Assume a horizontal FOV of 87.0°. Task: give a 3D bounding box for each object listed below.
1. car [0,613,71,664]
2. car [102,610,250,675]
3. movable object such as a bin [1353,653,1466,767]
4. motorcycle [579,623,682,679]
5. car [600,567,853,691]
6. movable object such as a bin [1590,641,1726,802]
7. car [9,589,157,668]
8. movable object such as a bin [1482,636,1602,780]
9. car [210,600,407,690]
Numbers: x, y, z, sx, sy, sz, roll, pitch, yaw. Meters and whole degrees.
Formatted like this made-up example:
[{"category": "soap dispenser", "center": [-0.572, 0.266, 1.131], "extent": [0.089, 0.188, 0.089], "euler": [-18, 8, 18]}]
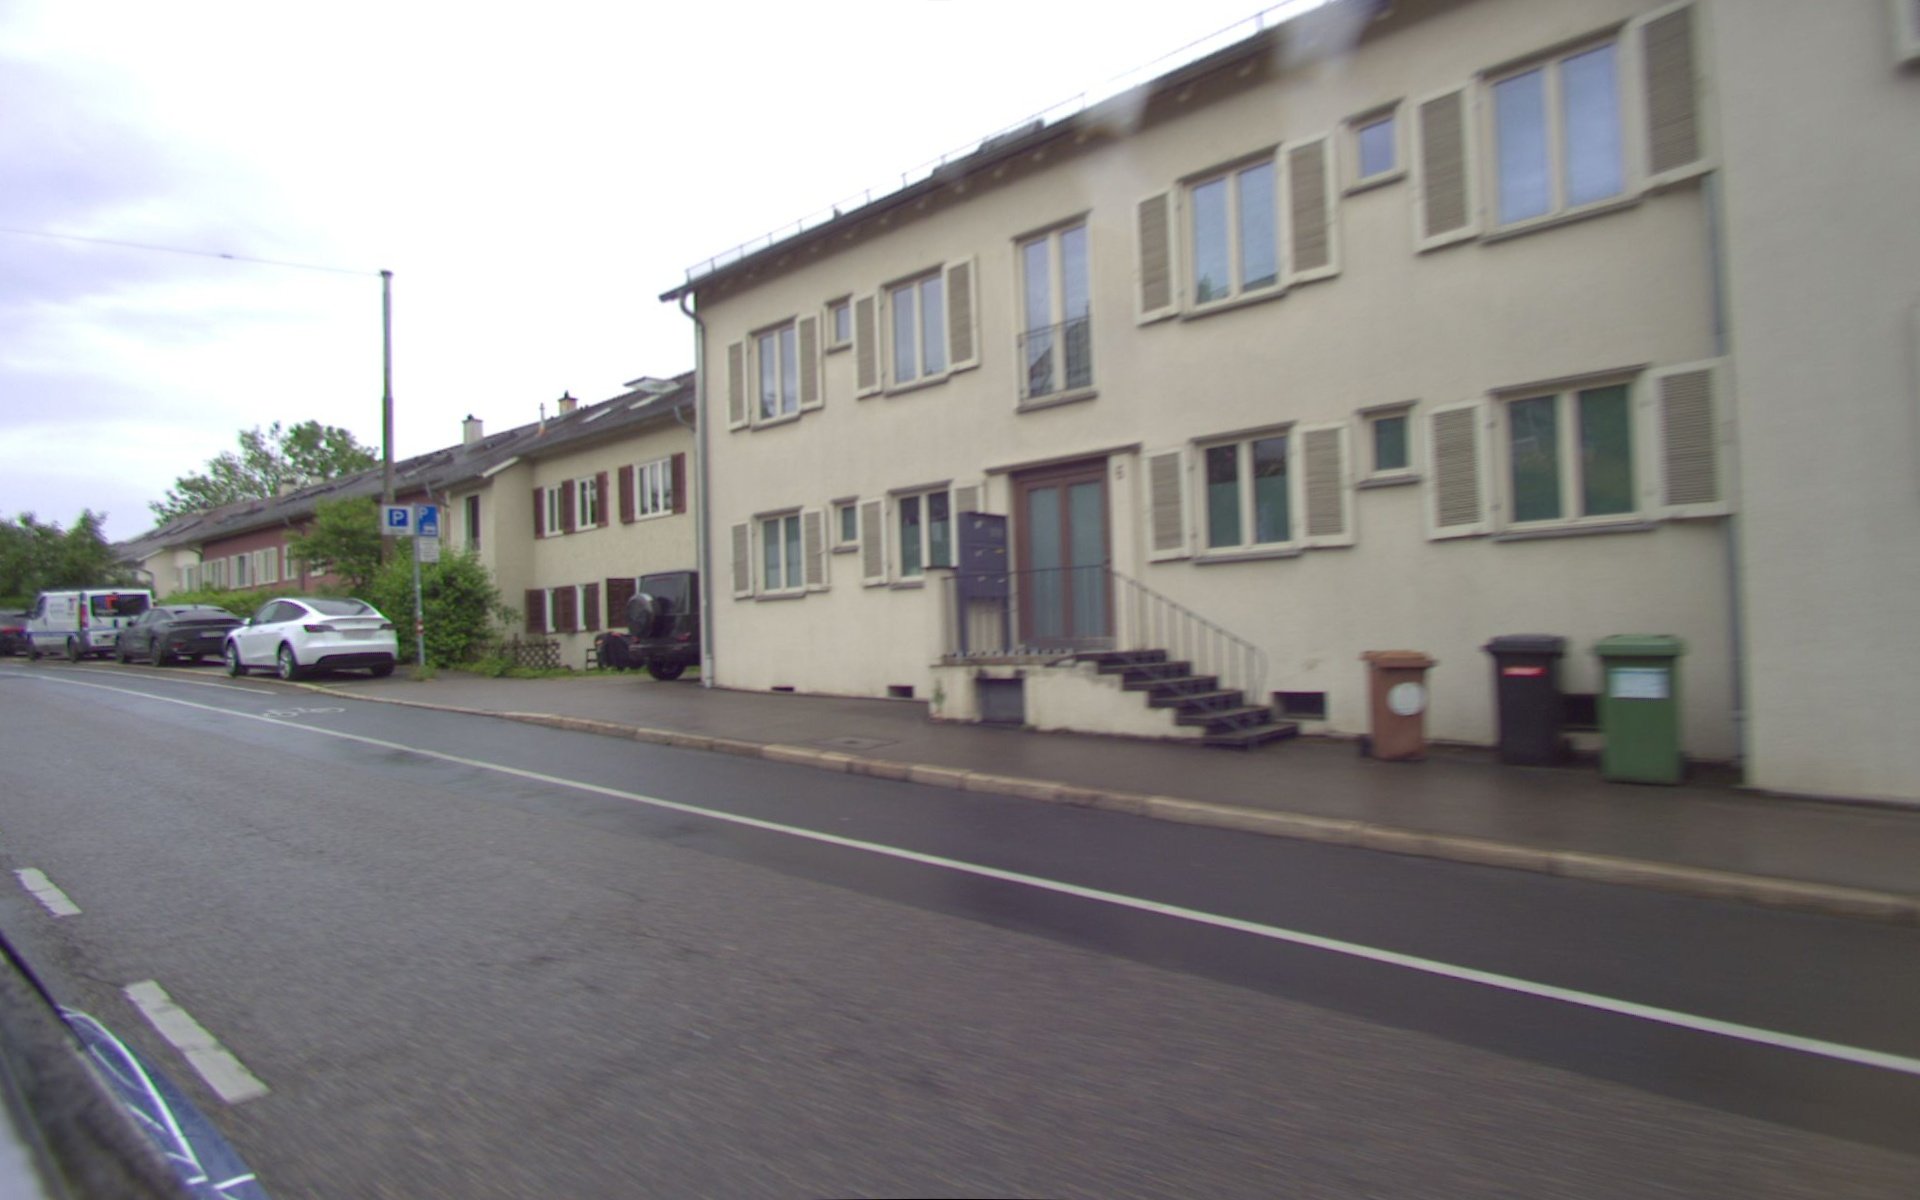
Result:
[{"category": "car", "center": [-29.877, 1.172, 31.468], "extent": [4.498, 1.488, 1.798], "euler": [-1, 0, 26]}, {"category": "car", "center": [-19.976, 1.032, 25.732], "extent": [4.513, 1.488, 1.792], "euler": [-1, 0, 36]}, {"category": "movable object such as a bin", "center": [3.805, 0.901, 8.568], "extent": [0.708, 0.866, 0.666], "euler": [-1, 0, 41]}, {"category": "motorcycle", "center": [-7.459, 1.134, 22.991], "extent": [0.840, 1.143, 2.070], "euler": [1, 1, 43]}, {"category": "car", "center": [-4.227, 0.534, 18.927], "extent": [1.885, 2.029, 4.447], "euler": [-3, -2, 37]}, {"category": "movable object such as a bin", "center": [5.120, 0.847, 7.418], "extent": [0.738, 1.054, 0.773], "euler": [-1, 0, 41]}, {"category": "car", "center": [-25.193, 0.777, 29.023], "extent": [5.004, 2.094, 1.834], "euler": [-1, 0, 32]}, {"category": "movable object such as a bin", "center": [4.735, 0.840, 8.223], "extent": [0.708, 1.054, 0.773], "euler": [-1, 0, 40]}, {"category": "car", "center": [-13.440, 0.852, 20.787], "extent": [4.669, 1.643, 1.911], "euler": [-1, 0, 37]}]
